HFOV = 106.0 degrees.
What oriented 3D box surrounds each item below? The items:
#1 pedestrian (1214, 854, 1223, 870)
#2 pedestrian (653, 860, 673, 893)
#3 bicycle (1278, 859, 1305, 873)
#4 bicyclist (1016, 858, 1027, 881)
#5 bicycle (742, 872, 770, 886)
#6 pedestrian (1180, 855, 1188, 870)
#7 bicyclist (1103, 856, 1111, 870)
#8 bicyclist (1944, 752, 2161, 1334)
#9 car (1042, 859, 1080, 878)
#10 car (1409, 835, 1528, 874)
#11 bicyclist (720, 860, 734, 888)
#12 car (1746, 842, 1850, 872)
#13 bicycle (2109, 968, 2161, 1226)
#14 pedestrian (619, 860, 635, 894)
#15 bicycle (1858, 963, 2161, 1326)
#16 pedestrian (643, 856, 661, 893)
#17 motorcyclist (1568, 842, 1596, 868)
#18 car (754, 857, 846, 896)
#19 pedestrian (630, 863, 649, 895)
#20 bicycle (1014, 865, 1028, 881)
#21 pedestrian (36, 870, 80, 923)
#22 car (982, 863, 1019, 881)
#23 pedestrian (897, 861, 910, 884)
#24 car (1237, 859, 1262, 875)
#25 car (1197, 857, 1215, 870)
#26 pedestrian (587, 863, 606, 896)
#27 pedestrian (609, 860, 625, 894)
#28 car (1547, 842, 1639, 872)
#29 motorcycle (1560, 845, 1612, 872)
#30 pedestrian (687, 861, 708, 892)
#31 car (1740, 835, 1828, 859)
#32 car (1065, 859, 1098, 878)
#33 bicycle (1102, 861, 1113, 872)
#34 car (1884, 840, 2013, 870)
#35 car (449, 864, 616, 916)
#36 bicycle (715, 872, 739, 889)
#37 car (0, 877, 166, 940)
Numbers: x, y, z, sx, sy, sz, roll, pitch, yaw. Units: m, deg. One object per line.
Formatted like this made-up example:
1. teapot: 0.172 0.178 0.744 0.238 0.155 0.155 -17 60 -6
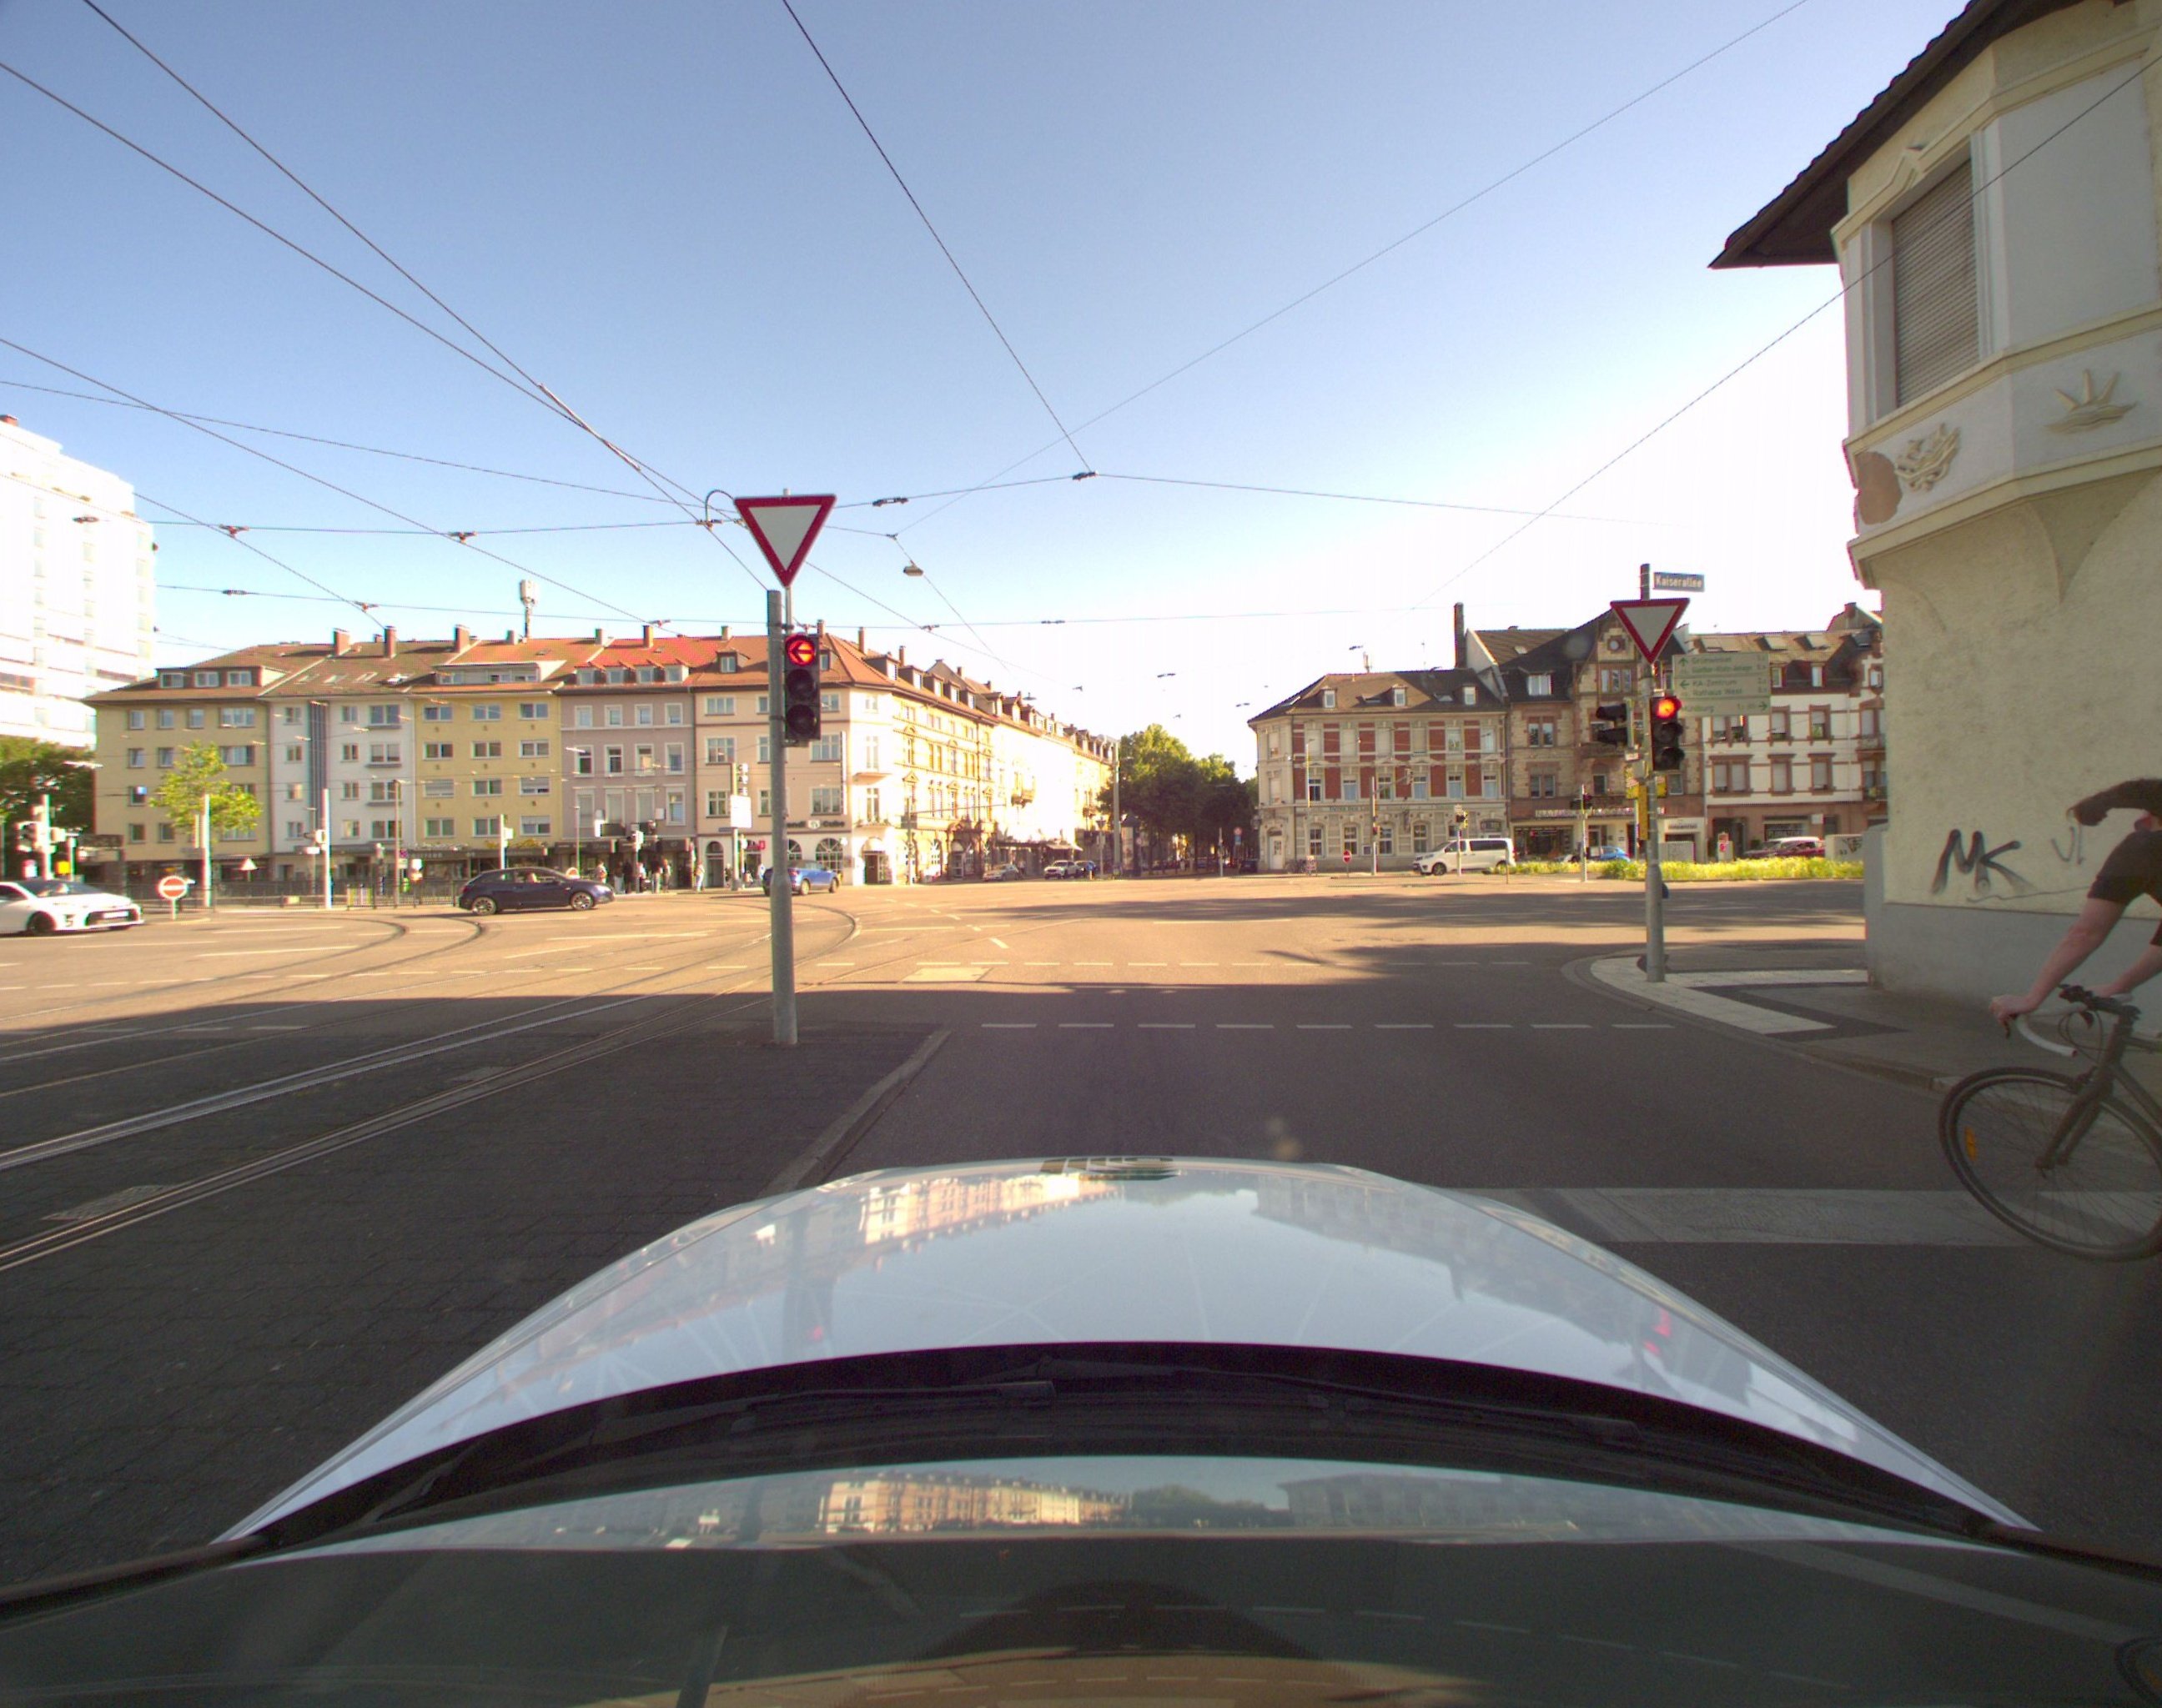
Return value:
1. pedestrian: 17.259 1.028 102.064 0.957 2.014 0.919 0 -1 3
2. pedestrian: -21.554 1.156 42.050 0.580 1.648 0.840 0 -1 1
3. bicycle: 14.702 0.831 56.920 1.789 0.963 0.606 -1 -1 16
4. bicyclist: -4.781 1.229 65.376 0.561 1.804 0.918 -1 -1 17
5. bicycle: -22.995 1.753 57.605 1.694 0.983 0.611 0 -1 1
6. pedestrian: 14.428 1.178 114.197 0.936 2.014 0.830 -1 -1 16
7. bicyclist: 2.926 1.010 90.444 0.668 1.568 0.751 -1 -1 20
8. bicyclist: 3.575 0.573 2.621 0.587 1.767 0.936 0 -1 2
9. car: -1.638 1.178 67.463 1.788 1.585 4.179 -1 -1 19
10. car: 19.892 0.013 41.998 5.178 1.854 2.001 -1 0 2
11. bicyclist: -23.021 1.304 52.943 0.618 1.790 0.616 0 -1 7
12. car: 36.466 0.144 41.475 3.854 1.426 1.596 -1 0 2
13. bicycle: 4.450 0.954 2.447 0.501 0.983 1.783 0 -1 2
14. pedestrian: -22.578 1.137 40.489 0.520 1.648 0.498 0 -1 1
15. bicycle: 3.580 0.963 2.626 0.480 0.991 1.783 0 -1 2
16. pedestrian: -21.607 1.015 41.058 0.525 1.823 0.677 0 -1 1
17. motorcyclist: 25.523 0.062 41.531 1.007 1.300 0.792 -1 -1 13
18. car: -12.182 0.937 35.595 1.813 1.575 4.213 -1 0 12
19. pedestrian: -22.945 1.293 42.342 0.571 1.648 0.727 0 -1 1
20. bicycle: -4.801 1.487 65.271 0.561 1.254 1.564 -1 -1 17
21. pedestrian: -31.685 1.308 25.231 0.770 1.609 0.605 0 -1 -44
22. car: -6.620 1.475 67.367 1.647 1.374 3.909 -1 -1 17
23. pedestrian: -12.801 1.342 58.843 0.562 1.642 0.797 -1 -1 25
24. car: 17.044 1.257 82.268 1.741 1.556 4.021 -1 -1 22
25. car: 17.874 1.351 116.372 1.978 1.684 4.018 -1 -1 17
26. pedestrian: -25.042 1.305 42.076 0.582 1.648 0.616 0 -1 1
27. pedestrian: -23.188 1.143 40.716 0.520 1.648 0.498 0 -1 1
28. car: 28.322 0.182 45.116 3.970 1.622 1.806 0 -1 3
29. motorcycle: 25.703 0.218 41.486 2.120 1.333 0.799 -1 -1 13
30. pedestrian: -19.802 1.172 42.075 0.666 1.594 0.815 0 -1 1
31. car: 45.201 -0.436 52.433 3.961 1.438 1.874 0 -1 5
32. car: 0.064 1.290 73.776 1.809 1.685 3.893 -1 -1 18
33. bicycle: 2.929 1.426 90.436 0.668 1.207 1.831 -1 -1 20
34. car: 45.859 0.060 43.107 4.839 1.469 1.805 -1 1 2
35. car: -16.746 1.068 25.131 4.006 1.403 1.816 -1 0 -25
36. bicycle: -23.018 1.704 52.924 0.618 1.030 1.758 0 -1 7
37. car: -27.433 1.438 21.654 3.982 1.454 1.899 -2 0 0
